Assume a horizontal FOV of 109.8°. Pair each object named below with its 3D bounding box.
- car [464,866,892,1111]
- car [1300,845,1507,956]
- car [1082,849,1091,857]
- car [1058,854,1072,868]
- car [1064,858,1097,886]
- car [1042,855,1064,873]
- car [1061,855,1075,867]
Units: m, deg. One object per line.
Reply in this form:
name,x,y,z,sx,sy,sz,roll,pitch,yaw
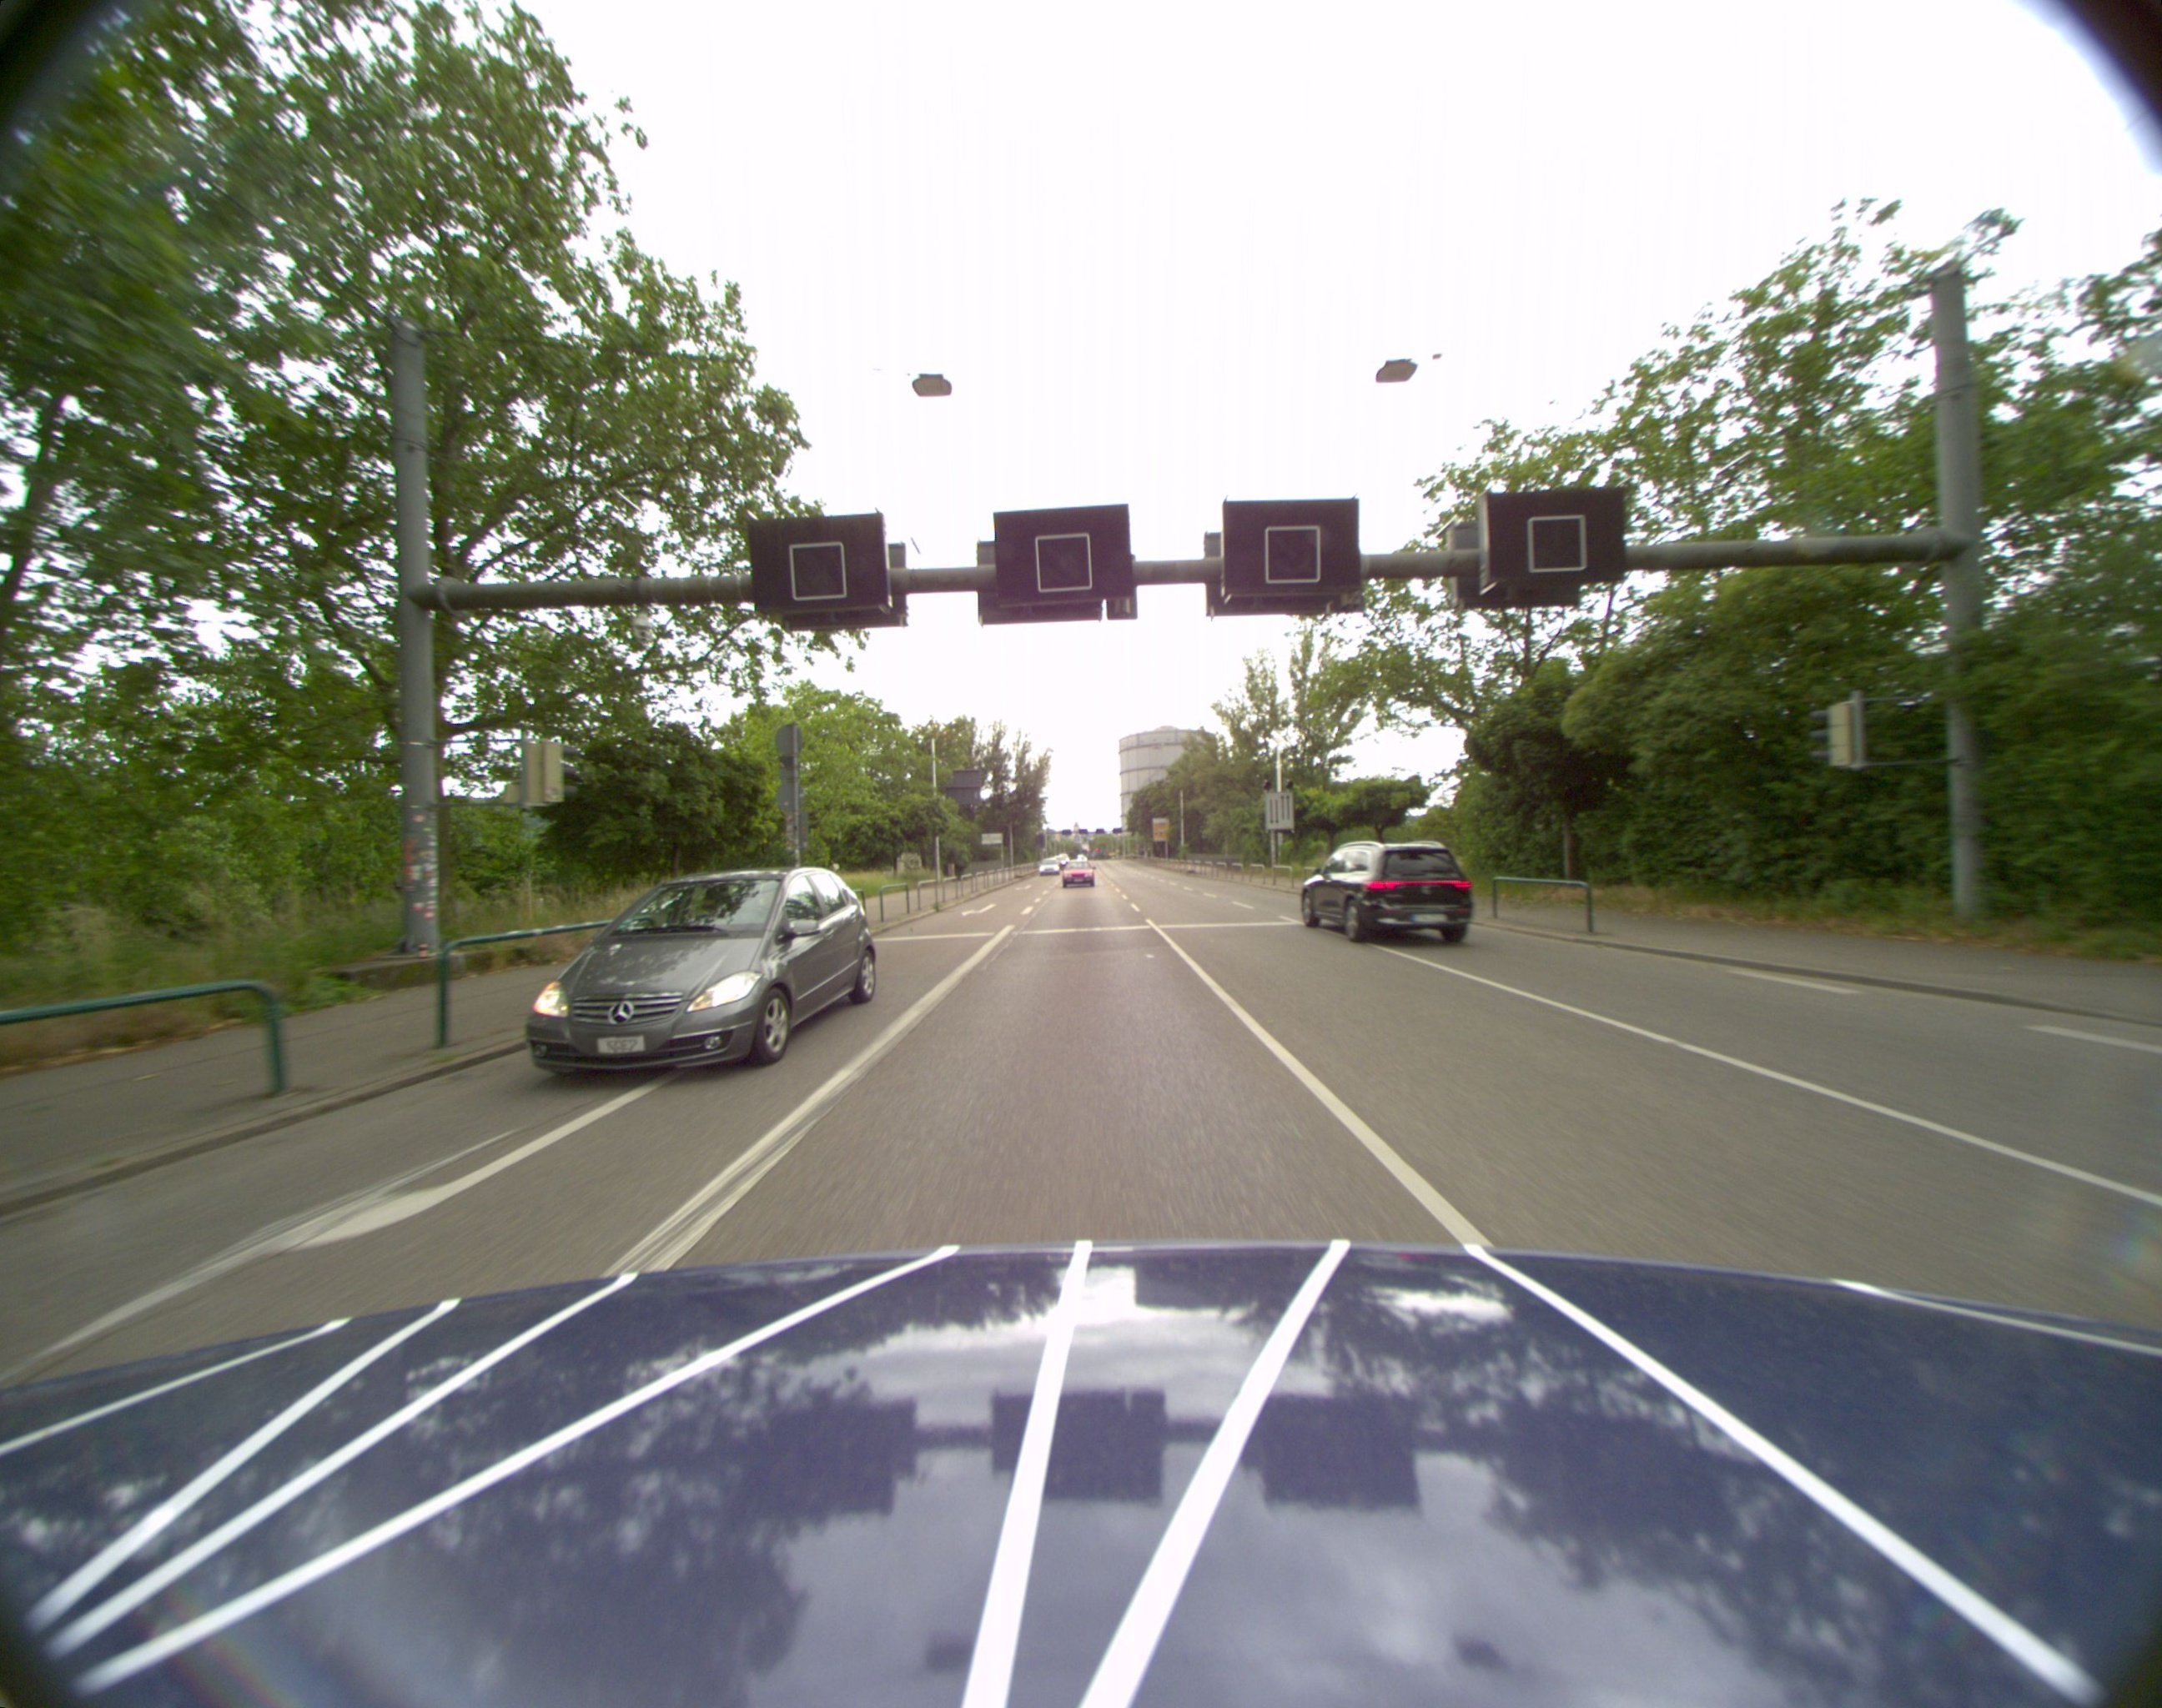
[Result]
car,-3.274,0.957,7.238,1.831,1.606,4.034,-2,-1,1
car,5.420,0.682,13.509,1.998,1.650,4.518,0,0,3
car,1.423,-0.237,194.915,1.998,1.792,4.001,-4,0,4
car,-2.052,0.931,98.981,1.776,1.696,4.000,-3,0,-1
car,-0.011,0.932,40.577,1.696,1.434,4.000,0,-1,0
car,-2.604,0.914,71.024,1.771,1.565,4.000,-1,0,1
car,-2.022,1.069,117.621,1.998,1.775,4.001,-2,0,2
